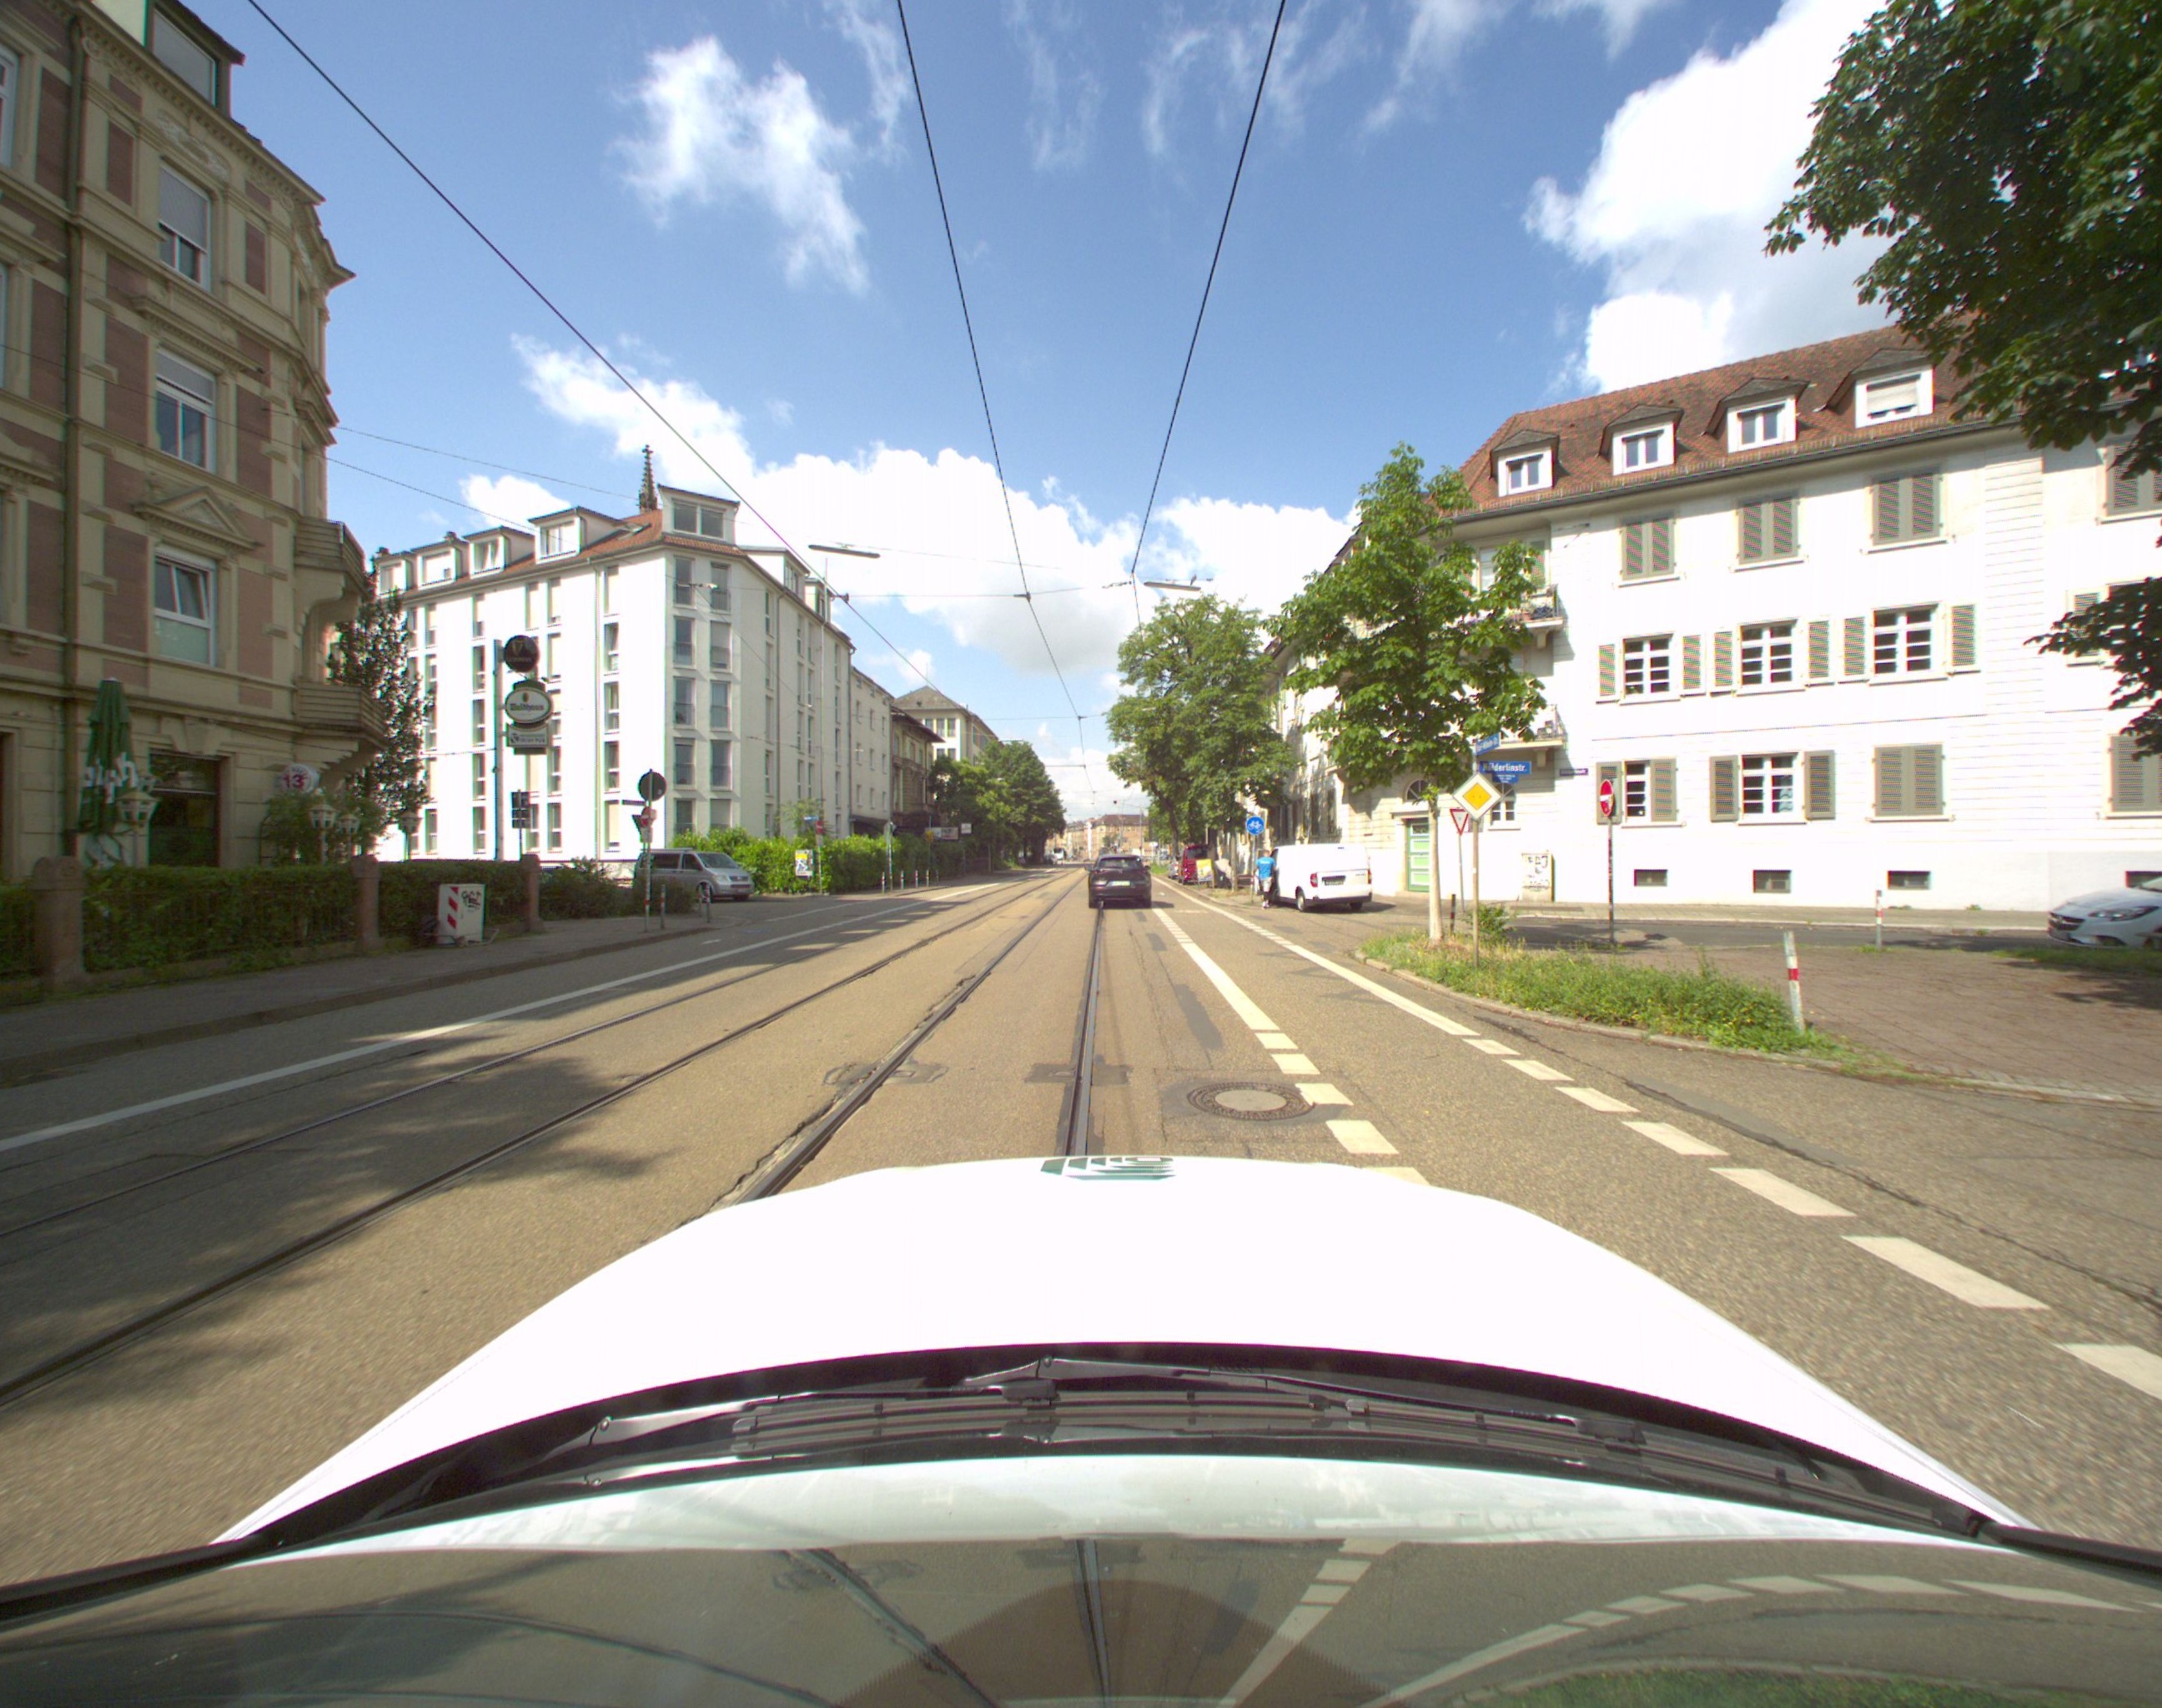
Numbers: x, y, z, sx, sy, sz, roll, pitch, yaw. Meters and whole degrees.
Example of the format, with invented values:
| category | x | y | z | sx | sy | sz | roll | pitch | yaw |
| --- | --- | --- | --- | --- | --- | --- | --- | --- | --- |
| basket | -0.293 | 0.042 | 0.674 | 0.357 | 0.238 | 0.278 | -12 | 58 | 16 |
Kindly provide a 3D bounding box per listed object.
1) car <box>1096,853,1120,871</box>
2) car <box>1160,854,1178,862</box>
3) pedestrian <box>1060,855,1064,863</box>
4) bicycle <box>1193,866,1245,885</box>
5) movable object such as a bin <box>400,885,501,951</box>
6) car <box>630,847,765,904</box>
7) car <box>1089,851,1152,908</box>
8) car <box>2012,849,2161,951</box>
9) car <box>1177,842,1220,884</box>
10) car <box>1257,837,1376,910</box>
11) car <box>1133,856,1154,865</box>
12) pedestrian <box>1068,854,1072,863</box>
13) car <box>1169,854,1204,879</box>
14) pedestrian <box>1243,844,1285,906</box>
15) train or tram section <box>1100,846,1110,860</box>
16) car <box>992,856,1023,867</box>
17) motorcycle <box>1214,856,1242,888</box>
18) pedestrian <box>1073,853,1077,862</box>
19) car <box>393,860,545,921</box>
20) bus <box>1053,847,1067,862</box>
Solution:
| category | x | y | z | sx | sy | sz | roll | pitch | yaw |
| --- | --- | --- | --- | --- | --- | --- | --- | --- | --- |
| car | 2.340 | 0.697 | 71.207 | 1.986 | 1.529 | 4.001 | 2 | 0 | 1 |
| car | 19.985 | 0.838 | 184.033 | 3.830 | 1.618 | 1.622 | 2 | 0 | -30 |
| pedestrian | -3.537 | 1.015 | 155.206 | 0.749 | 1.510 | 0.823 | -1 | 0 | -3 |
| bicycle | 6.341 | 0.994 | 37.546 | 2.267 | 0.861 | 0.672 | -1 | 0 | 0 |
| movable object such as a bin | -10.432 | 1.045 | 13.519 | 0.742 | 0.988 | 1.114 | 2 | 0 | 1 |
| car | -14.535 | 0.785 | 30.838 | 4.621 | 2.013 | 2.058 | -1 | 0 | 23 |
| car | 1.129 | 0.698 | 24.060 | 1.714 | 1.526 | 3.590 | -1 | 0 | 1 |
| car | 16.362 | 0.639 | 11.464 | 3.949 | 1.411 | 1.662 | -1 | -1 | 29 |
| car | 5.880 | 0.442 | 41.115 | 1.714 | 1.968 | 4.209 | -1 | 0 | 2 |
| car | 6.866 | 0.524 | 24.397 | 1.784 | 1.938 | 4.983 | -1 | 0 | -4 |
| car | 12.775 | 1.329 | 166.495 | 3.815 | 1.618 | 1.628 | 2 | 0 | -17 |
| pedestrian | -2.397 | 0.933 | 179.685 | 0.882 | 2.013 | 0.617 | -1 | 0 | -3 |
| car | 6.257 | 0.740 | 48.733 | 1.714 | 1.424 | 3.590 | -1 | 0 | 1 |
| pedestrian | 5.561 | 0.630 | 24.731 | 0.964 | 1.835 | 0.810 | 0 | 0 | -26 |
| train or tram section | 6.432 | -0.213 | 220.277 | 2.561 | 3.772 | 13.032 | -1 | 0 | 2 |
| car | -9.080 | 0.921 | 100.747 | 3.737 | 1.287 | 1.609 | 2 | 0 | -3 |
| motorcycle | 6.155 | 0.735 | 34.312 | 0.791 | 1.271 | 2.423 | -1 | 0 | 1 |
| pedestrian | -1.301 | 0.805 | 179.569 | 0.882 | 2.013 | 0.617 | -1 | 0 | -3 |
| car | -17.255 | 0.969 | 23.112 | 1.377 | 1.567 | 3.201 | -1 | 0 | 21 |
| bus | -5.269 | 0.106 | 201.206 | 2.683 | 3.421 | 11.000 | 2 | 0 | -4 |
